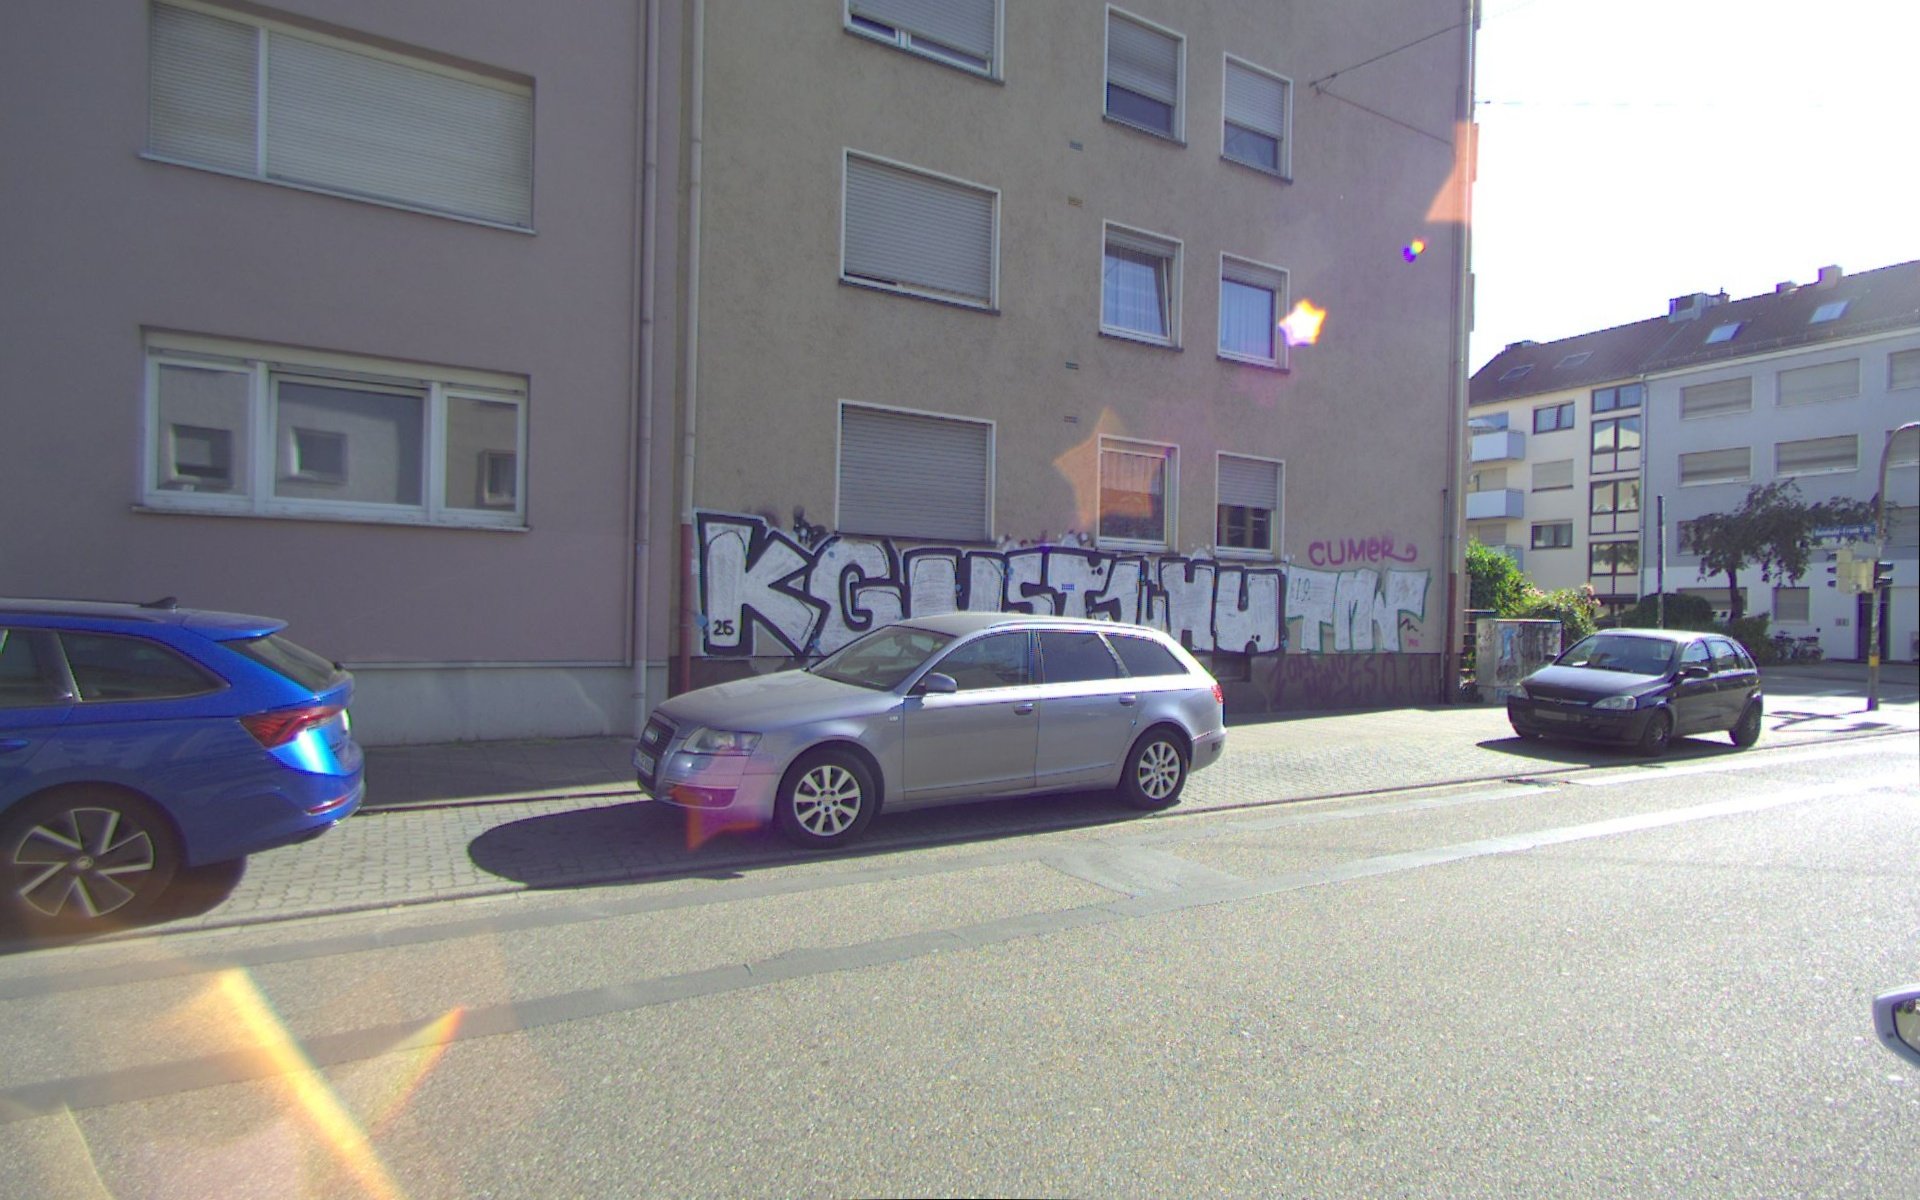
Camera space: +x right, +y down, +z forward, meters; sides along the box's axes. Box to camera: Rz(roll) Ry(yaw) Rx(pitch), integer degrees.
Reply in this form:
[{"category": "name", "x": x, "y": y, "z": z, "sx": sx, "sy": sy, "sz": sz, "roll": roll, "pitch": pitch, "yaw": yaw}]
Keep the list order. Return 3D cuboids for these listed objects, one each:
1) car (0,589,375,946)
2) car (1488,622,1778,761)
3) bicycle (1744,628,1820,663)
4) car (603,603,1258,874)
[{"category": "car", "x": -5.344, "y": 0.705, "z": 4.597, "sx": 4.558, "sy": 1.485, "sz": 1.709, "roll": 1, "pitch": 2, "yaw": -30}, {"category": "car", "x": 8.604, "y": 1.070, "z": 12.792, "sx": 3.667, "sy": 1.444, "sz": 1.608, "roll": 1, "pitch": 2, "yaw": -31}, {"category": "bicycle", "x": 29.720, "y": 1.632, "z": 36.361, "sx": 2.068, "sy": 1.188, "sz": 0.738, "roll": 0, "pitch": -1, "yaw": 37}, {"category": "car", "x": -0.077, "y": 0.842, "z": 7.678, "sx": 4.759, "sy": 1.485, "sz": 1.708, "roll": 1, "pitch": 2, "yaw": -31}]
